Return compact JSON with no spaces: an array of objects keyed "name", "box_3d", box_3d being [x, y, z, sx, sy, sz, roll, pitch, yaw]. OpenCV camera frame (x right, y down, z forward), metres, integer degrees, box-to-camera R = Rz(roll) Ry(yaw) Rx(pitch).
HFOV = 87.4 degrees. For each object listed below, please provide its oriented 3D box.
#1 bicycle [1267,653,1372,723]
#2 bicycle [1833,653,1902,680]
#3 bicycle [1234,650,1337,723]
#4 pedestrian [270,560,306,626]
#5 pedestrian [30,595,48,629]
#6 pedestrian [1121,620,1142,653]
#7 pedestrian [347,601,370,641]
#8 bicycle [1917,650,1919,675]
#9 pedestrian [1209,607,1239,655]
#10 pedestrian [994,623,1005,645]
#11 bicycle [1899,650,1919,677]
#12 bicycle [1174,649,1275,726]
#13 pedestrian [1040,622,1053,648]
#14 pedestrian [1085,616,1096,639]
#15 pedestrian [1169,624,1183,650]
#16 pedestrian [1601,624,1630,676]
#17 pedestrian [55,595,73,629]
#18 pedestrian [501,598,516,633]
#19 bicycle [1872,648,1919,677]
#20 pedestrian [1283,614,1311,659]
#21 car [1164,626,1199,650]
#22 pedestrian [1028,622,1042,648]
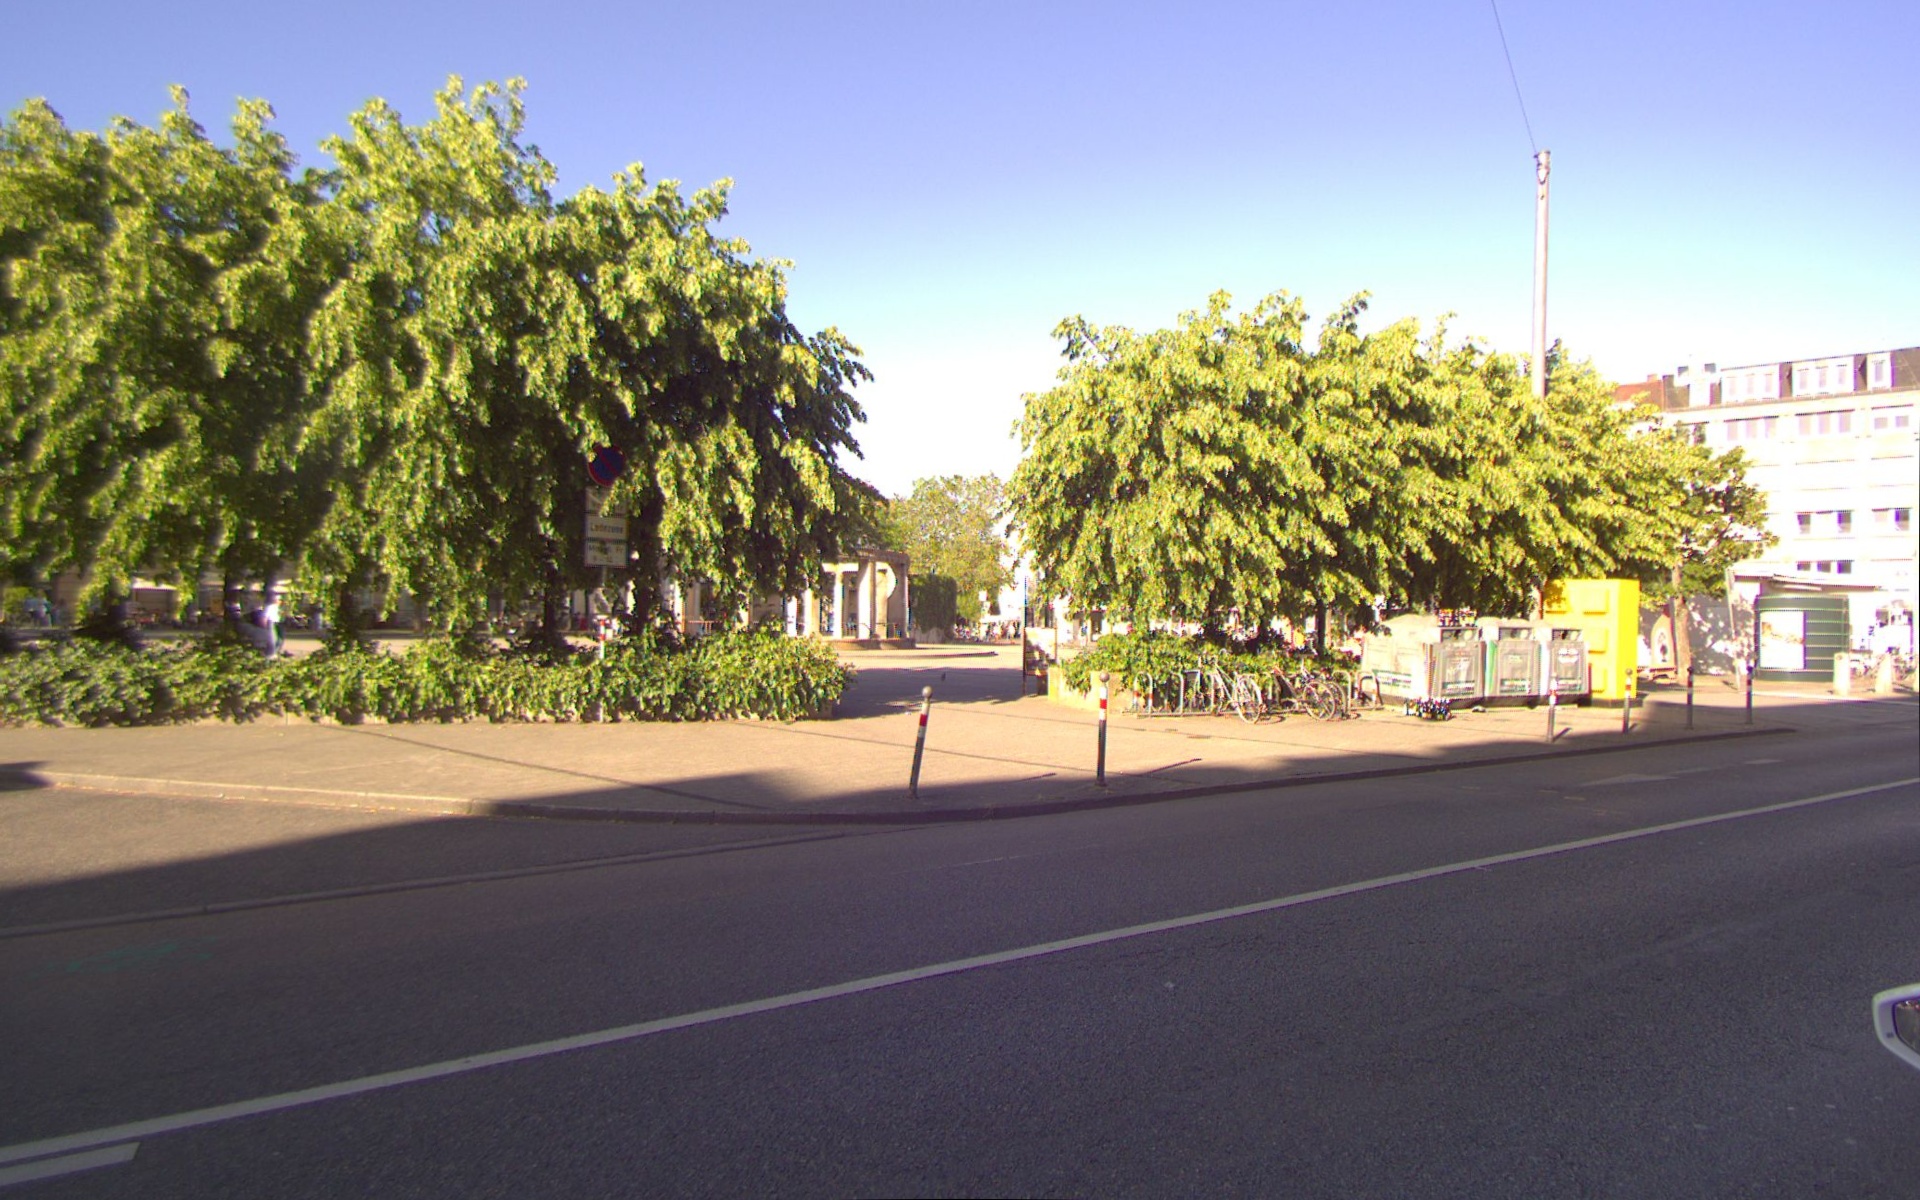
[{"name":"bicycle","box_3d":[5.837,1.402,16.421,0.508,0.968,1.898,2,0,-20]},{"name":"bicycle","box_3d":[30.832,2.247,34.131,0.600,0.802,1.634,2,0,-33]},{"name":"bicycle","box_3d":[5.241,1.365,16.320,0.508,1.016,1.923,2,0,-20]},{"name":"pedestrian","box_3d":[-18.201,-0.180,27.209,0.599,1.744,0.644,2,0,41]},{"name":"pedestrian","box_3d":[-47.736,0.636,52.050,0.600,1.744,0.643,2,0,45]},{"name":"pedestrian","box_3d":[10.593,2.237,62.121,1.014,2.040,1.159,1,-1,-5]},{"name":"pedestrian","box_3d":[-26.671,0.908,44.558,0.599,1.744,0.644,2,0,37]},{"name":"bicycle","box_3d":[37.073,2.371,37.497,0.599,0.946,1.854,2,0,-30]},{"name":"pedestrian","box_3d":[11.358,1.316,43.273,0.875,2.040,0.896,1,0,-17]},{"name":"pedestrian","box_3d":[3.693,3.178,93.818,0.860,2.040,0.902,2,0,-5]},{"name":"bicycle","box_3d":[35.068,2.334,36.074,0.599,0.946,1.854,2,0,-30]},{"name":"bicycle","box_3d":[4.081,1.326,15.659,0.508,1.029,1.930,2,0,-19]},{"name":"pedestrian","box_3d":[6.904,2.786,80.183,0.860,2.040,0.902,2,0,-5]},{"name":"pedestrian","box_3d":[12.897,2.728,99.498,0.860,2.199,0.902,2,0,-5]},{"name":"pedestrian","box_3d":[14.233,2.431,66.159,0.741,1.740,0.854,1,-1,4]},{"name":"pedestrian","box_3d":[22.386,1.693,34.313,0.700,1.739,0.475,2,0,-21]},{"name":"pedestrian","box_3d":[-46.469,0.632,52.082,0.600,1.744,0.643,2,0,45]},{"name":"pedestrian","box_3d":[-25.699,0.891,57.147,0.669,1.974,0.634,2,0,-33]},{"name":"bicycle","box_3d":[33.196,2.197,35.122,0.599,0.946,1.855,2,0,-30]},{"name":"pedestrian","box_3d":[13.153,1.410,39.227,0.774,1.720,0.763,1,0,-6]},{"name":"car","box_3d":[13.860,2.363,63.114,1.658,1.405,3.575,1,-1,5]},{"name":"pedestrian","box_3d":[5.979,2.758,80.115,0.860,2.040,0.902,2,0,-5]}]
